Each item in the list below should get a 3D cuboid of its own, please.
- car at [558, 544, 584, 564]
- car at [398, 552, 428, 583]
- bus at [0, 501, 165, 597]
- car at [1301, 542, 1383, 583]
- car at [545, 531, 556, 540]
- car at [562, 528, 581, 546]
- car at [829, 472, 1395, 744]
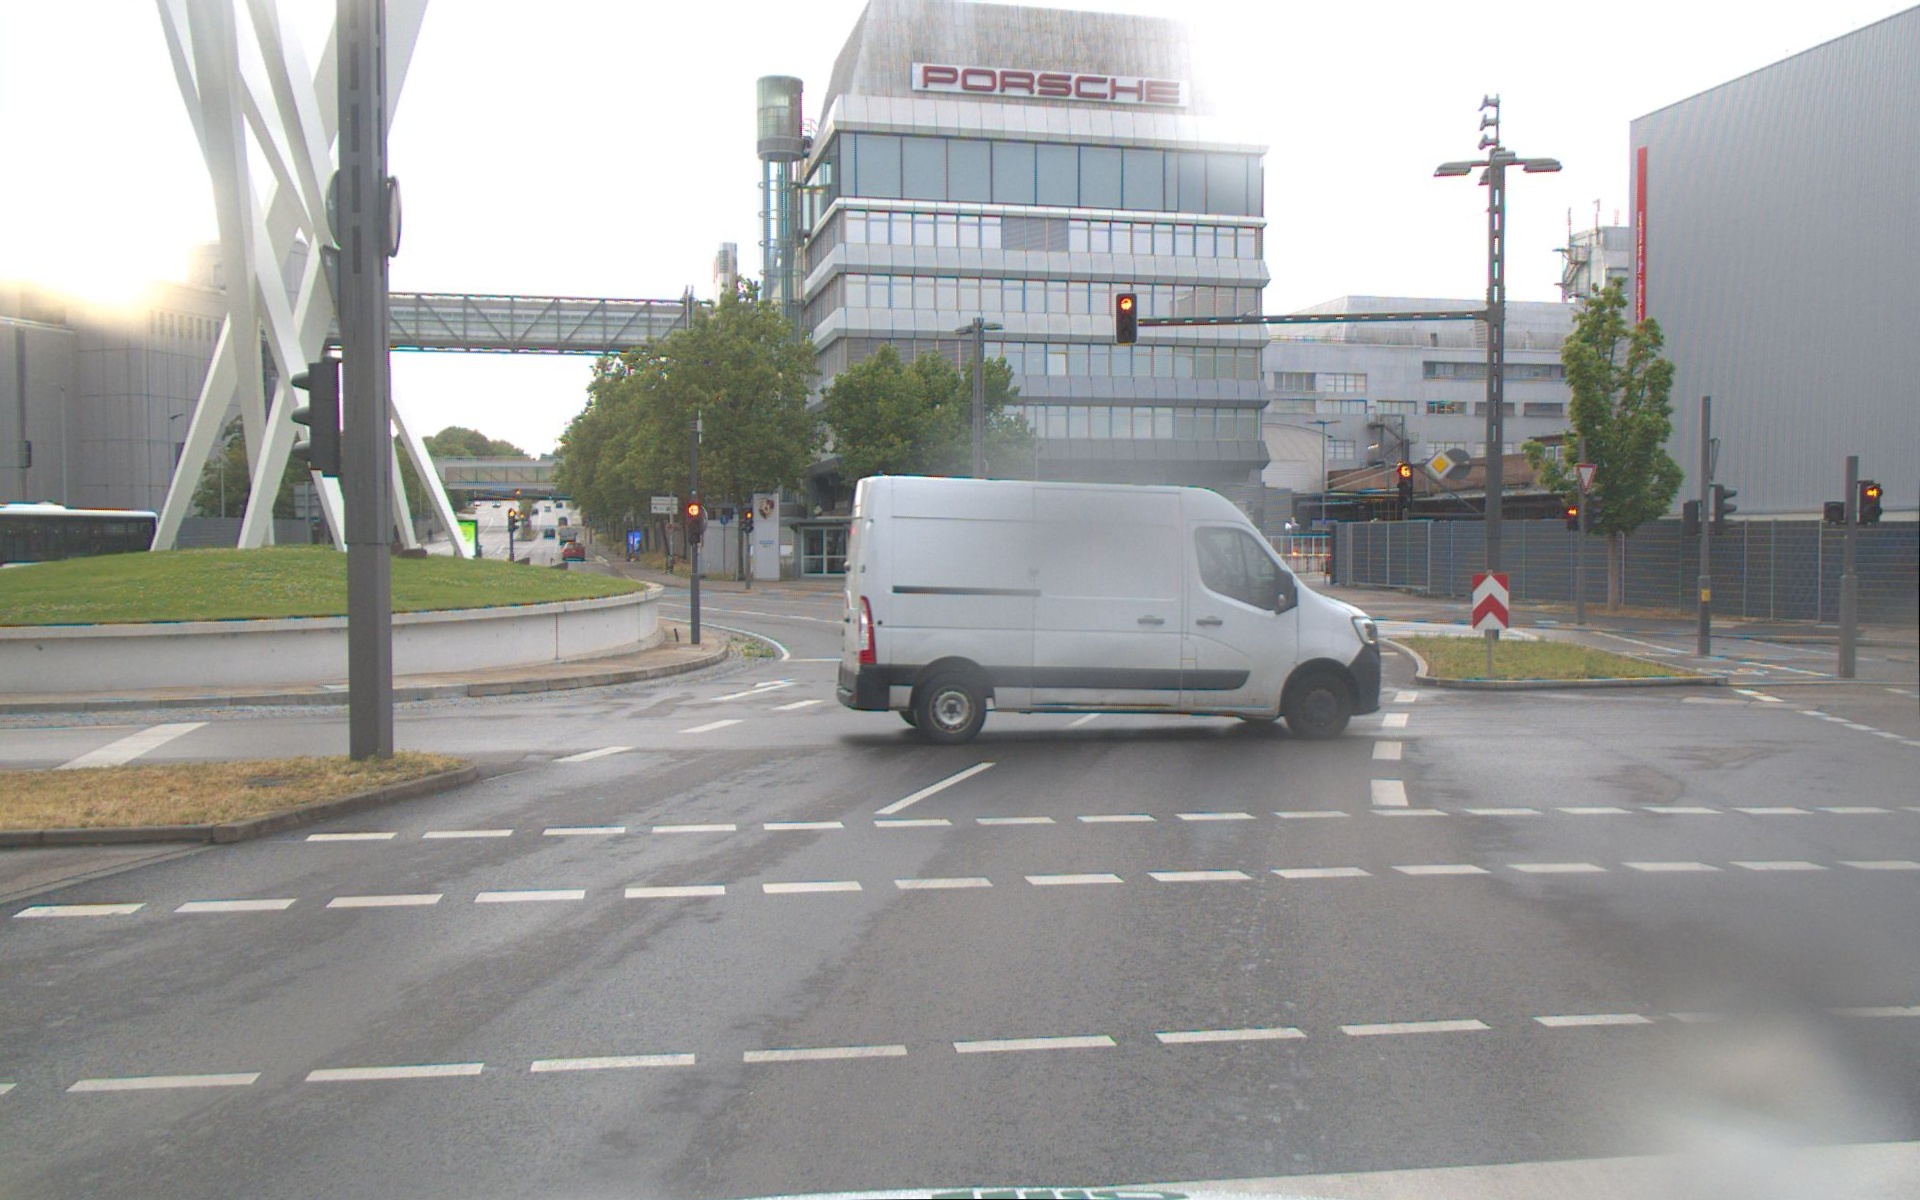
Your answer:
[{"bbox_3d":[-31.076,-3.674,132.156,1.745,1.490,3.713,0,0,-18],"label":"car"},{"bbox_3d":[-37.820,-2.233,114.330,1.616,2.049,3.747,0,1,-13],"label":"car"},{"bbox_3d":[-33.737,-1.799,60.405,2.613,3.257,12.675,0,1,3],"label":"bus"},{"bbox_3d":[19.592,-1.910,84.726,1.965,2.004,4.864,0,1,43],"label":"car"},{"bbox_3d":[-60.593,-9.549,244.962,1.531,1.311,3.400,0,0,-15],"label":"car"},{"bbox_3d":[-49.077,-7.951,209.192,2.193,2.145,4.940,0,-1,-11],"label":"car"},{"bbox_3d":[1.421,0.029,16.520,5.308,2.490,1.996,-1,1,-9],"label":"car"}]
